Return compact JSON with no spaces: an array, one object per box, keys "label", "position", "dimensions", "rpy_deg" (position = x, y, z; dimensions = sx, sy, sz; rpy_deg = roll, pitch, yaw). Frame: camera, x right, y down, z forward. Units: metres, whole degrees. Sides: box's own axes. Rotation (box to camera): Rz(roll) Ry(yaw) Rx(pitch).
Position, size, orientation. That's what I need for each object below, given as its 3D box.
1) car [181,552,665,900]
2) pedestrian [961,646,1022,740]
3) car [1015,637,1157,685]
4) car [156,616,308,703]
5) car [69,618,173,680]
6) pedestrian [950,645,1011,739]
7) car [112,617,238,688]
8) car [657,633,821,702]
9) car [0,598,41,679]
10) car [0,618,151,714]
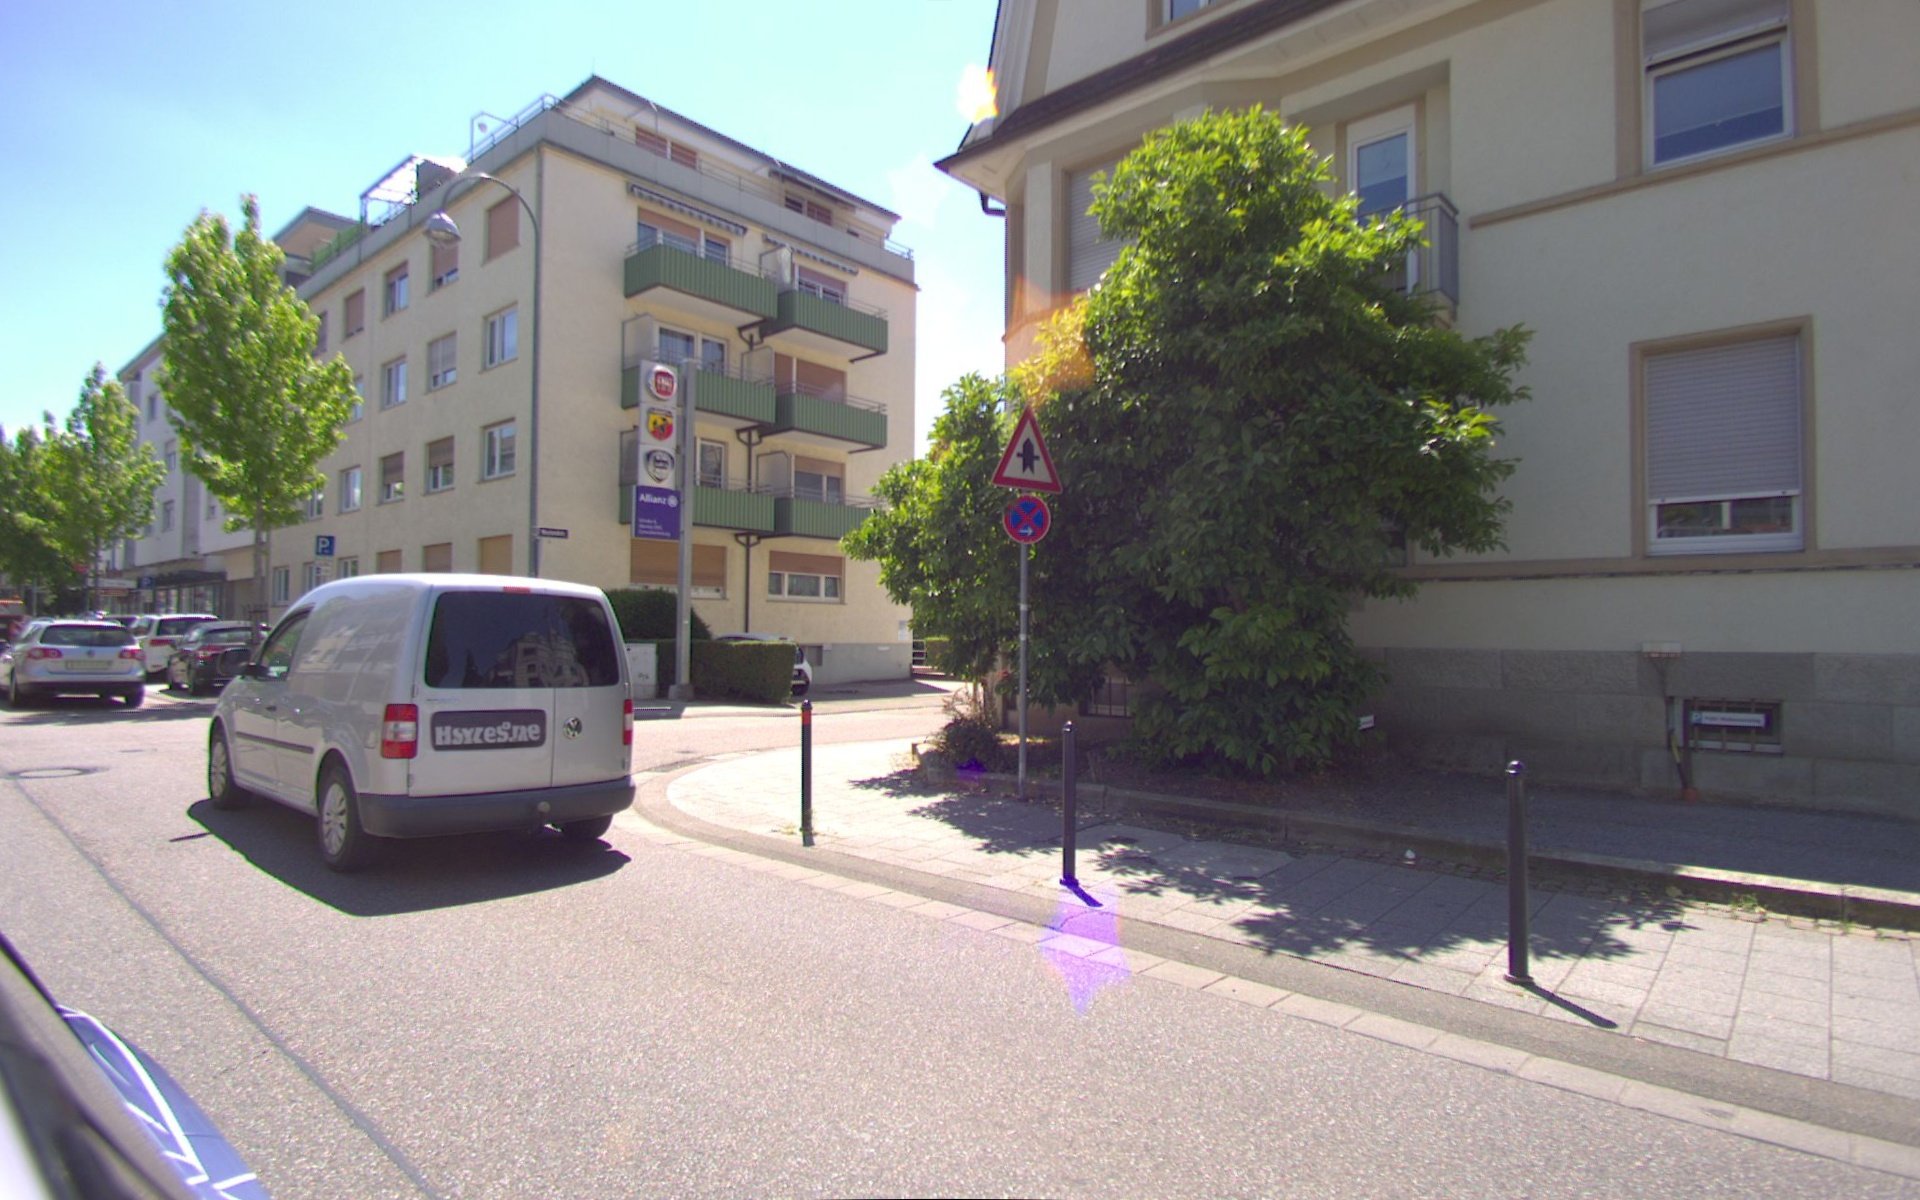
[{"label":"car","position":[-4.104,0.740,7.409],"dimensions":[4.230,1.840,1.683],"rpy_deg":[-1,-4,42]},{"label":"pedestrian","position":[0.484,1.402,15.496],"dimensions":[0.598,1.394,0.718],"rpy_deg":[-1,-3,41]},{"label":"car","position":[4.333,2.082,35.292],"dimensions":[4.699,1.473,1.902],"rpy_deg":[-1,-1,42]},{"label":"car","position":[-15.544,1.184,21.531],"dimensions":[4.292,1.683,1.709],"rpy_deg":[-1,-2,42]},{"label":"car","position":[-24.534,1.385,29.548],"dimensions":[4.292,1.683,1.709],"rpy_deg":[-1,-2,42]},{"label":"pedestrian","position":[0.318,1.389,15.506],"dimensions":[0.598,1.394,0.718],"rpy_deg":[-1,-3,41]},{"label":"car","position":[-20.192,1.283,25.972],"dimensions":[4.291,1.683,1.709],"rpy_deg":[-1,-2,41]},{"label":"car","position":[-5.323,1.560,24.252],"dimensions":[3.740,1.519,1.731],"rpy_deg":[-1,-3,34]},{"label":"car","position":[-27.599,1.073,28.703],"dimensions":[4.292,2.183,1.709],"rpy_deg":[-1,-4,42]},{"label":"car","position":[-16.103,1.134,18.160],"dimensions":[4.292,1.520,1.709],"rpy_deg":[-1,-4,42]}]
